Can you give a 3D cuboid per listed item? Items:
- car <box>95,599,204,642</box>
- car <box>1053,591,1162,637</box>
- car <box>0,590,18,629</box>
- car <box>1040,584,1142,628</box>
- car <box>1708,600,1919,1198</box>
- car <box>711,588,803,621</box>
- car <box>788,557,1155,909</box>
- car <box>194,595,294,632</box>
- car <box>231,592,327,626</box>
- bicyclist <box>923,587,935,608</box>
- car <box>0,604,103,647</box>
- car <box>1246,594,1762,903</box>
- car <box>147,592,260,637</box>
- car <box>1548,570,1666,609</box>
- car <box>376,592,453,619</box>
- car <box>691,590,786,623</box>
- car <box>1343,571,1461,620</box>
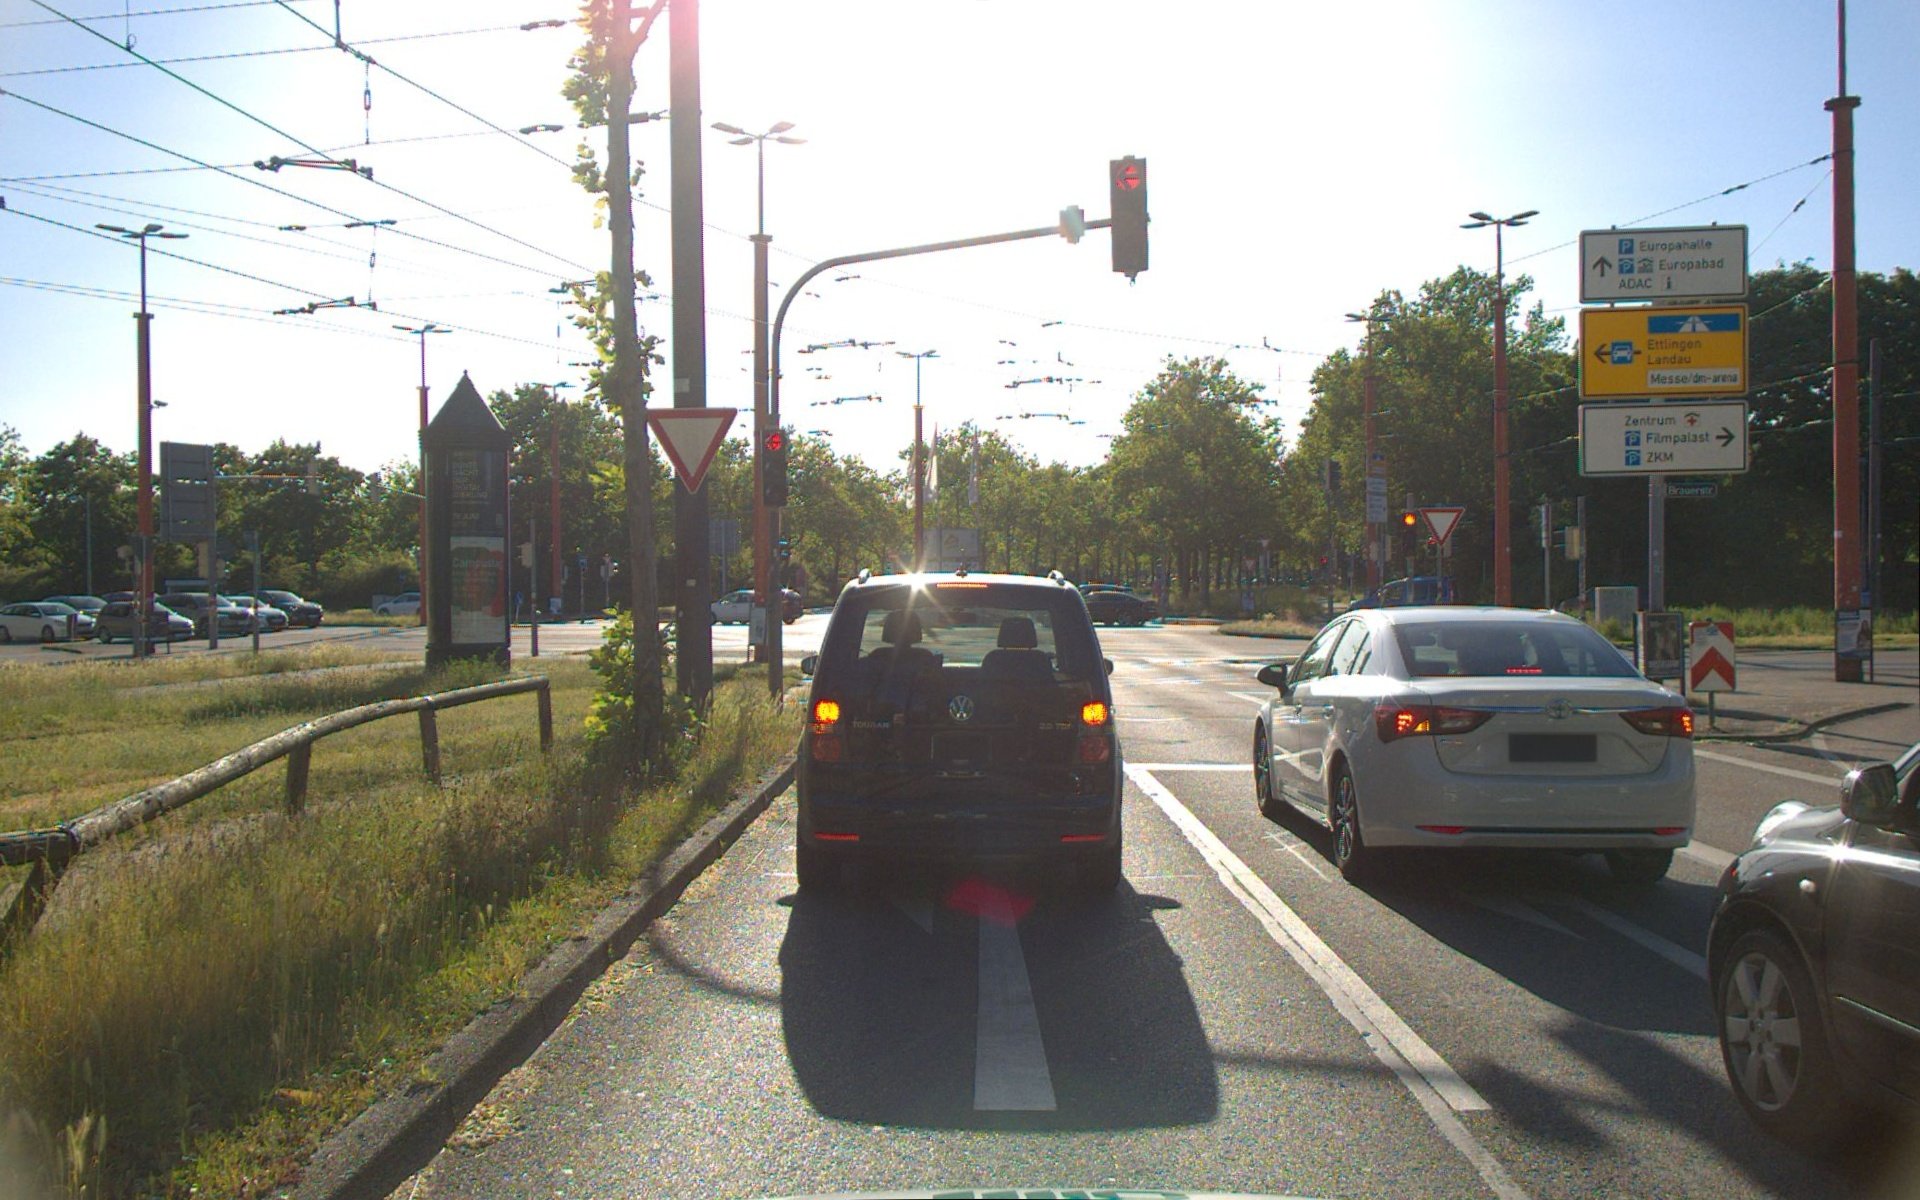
[{"bbox_3d":[-29.544,0.729,60.297,3.755,1.466,1.655,0,0,27],"label":"car"},{"bbox_3d":[5.978,0.547,67.050,4.037,1.822,1.798,0,0,25],"label":"car"},{"bbox_3d":[-42.985,0.382,71.632,4.541,1.676,1.753,0,0,30],"label":"car"},{"bbox_3d":[5.660,0.247,71.451,4.037,1.822,1.797,0,0,25],"label":"car"},{"bbox_3d":[3.136,0.742,3.485,1.544,1.465,3.441,1,0,0],"label":"car"},{"bbox_3d":[-9.592,0.214,78.121,4.037,1.497,1.655,0,0,25],"label":"car"},{"bbox_3d":[0.067,0.635,9.960,1.703,1.630,4.326,1,0,0],"label":"car"},{"bbox_3d":[-29.405,0.530,67.924,4.060,1.440,1.542,0,0,26],"label":"car"},{"bbox_3d":[-29.469,0.371,71.546,4.060,1.440,1.542,0,0,26],"label":"car"},{"bbox_3d":[-2.818,-0.200,150.518,0.955,1.937,1.051,0,0,6],"label":"bicyclist"},{"bbox_3d":[-34.939,0.968,63.251,4.536,1.546,1.654,0,0,30],"label":"car"},{"bbox_3d":[3.015,0.729,10.182,1.762,1.465,4.326,1,0,0],"label":"car"},{"bbox_3d":[-29.318,0.539,64.089,4.541,1.676,1.654,0,0,30],"label":"car"},{"bbox_3d":[24.309,-0.397,62.138,4.036,1.427,1.656,0,0,25],"label":"car"},{"bbox_3d":[-29.175,0.295,88.466,3.715,1.427,1.656,0,0,23],"label":"car"},{"bbox_3d":[-9.978,0.292,74.391,4.039,1.427,1.655,0,0,27],"label":"car"},{"bbox_3d":[16.594,-0.183,62.072,4.038,1.822,1.797,0,0,26],"label":"car"}]
